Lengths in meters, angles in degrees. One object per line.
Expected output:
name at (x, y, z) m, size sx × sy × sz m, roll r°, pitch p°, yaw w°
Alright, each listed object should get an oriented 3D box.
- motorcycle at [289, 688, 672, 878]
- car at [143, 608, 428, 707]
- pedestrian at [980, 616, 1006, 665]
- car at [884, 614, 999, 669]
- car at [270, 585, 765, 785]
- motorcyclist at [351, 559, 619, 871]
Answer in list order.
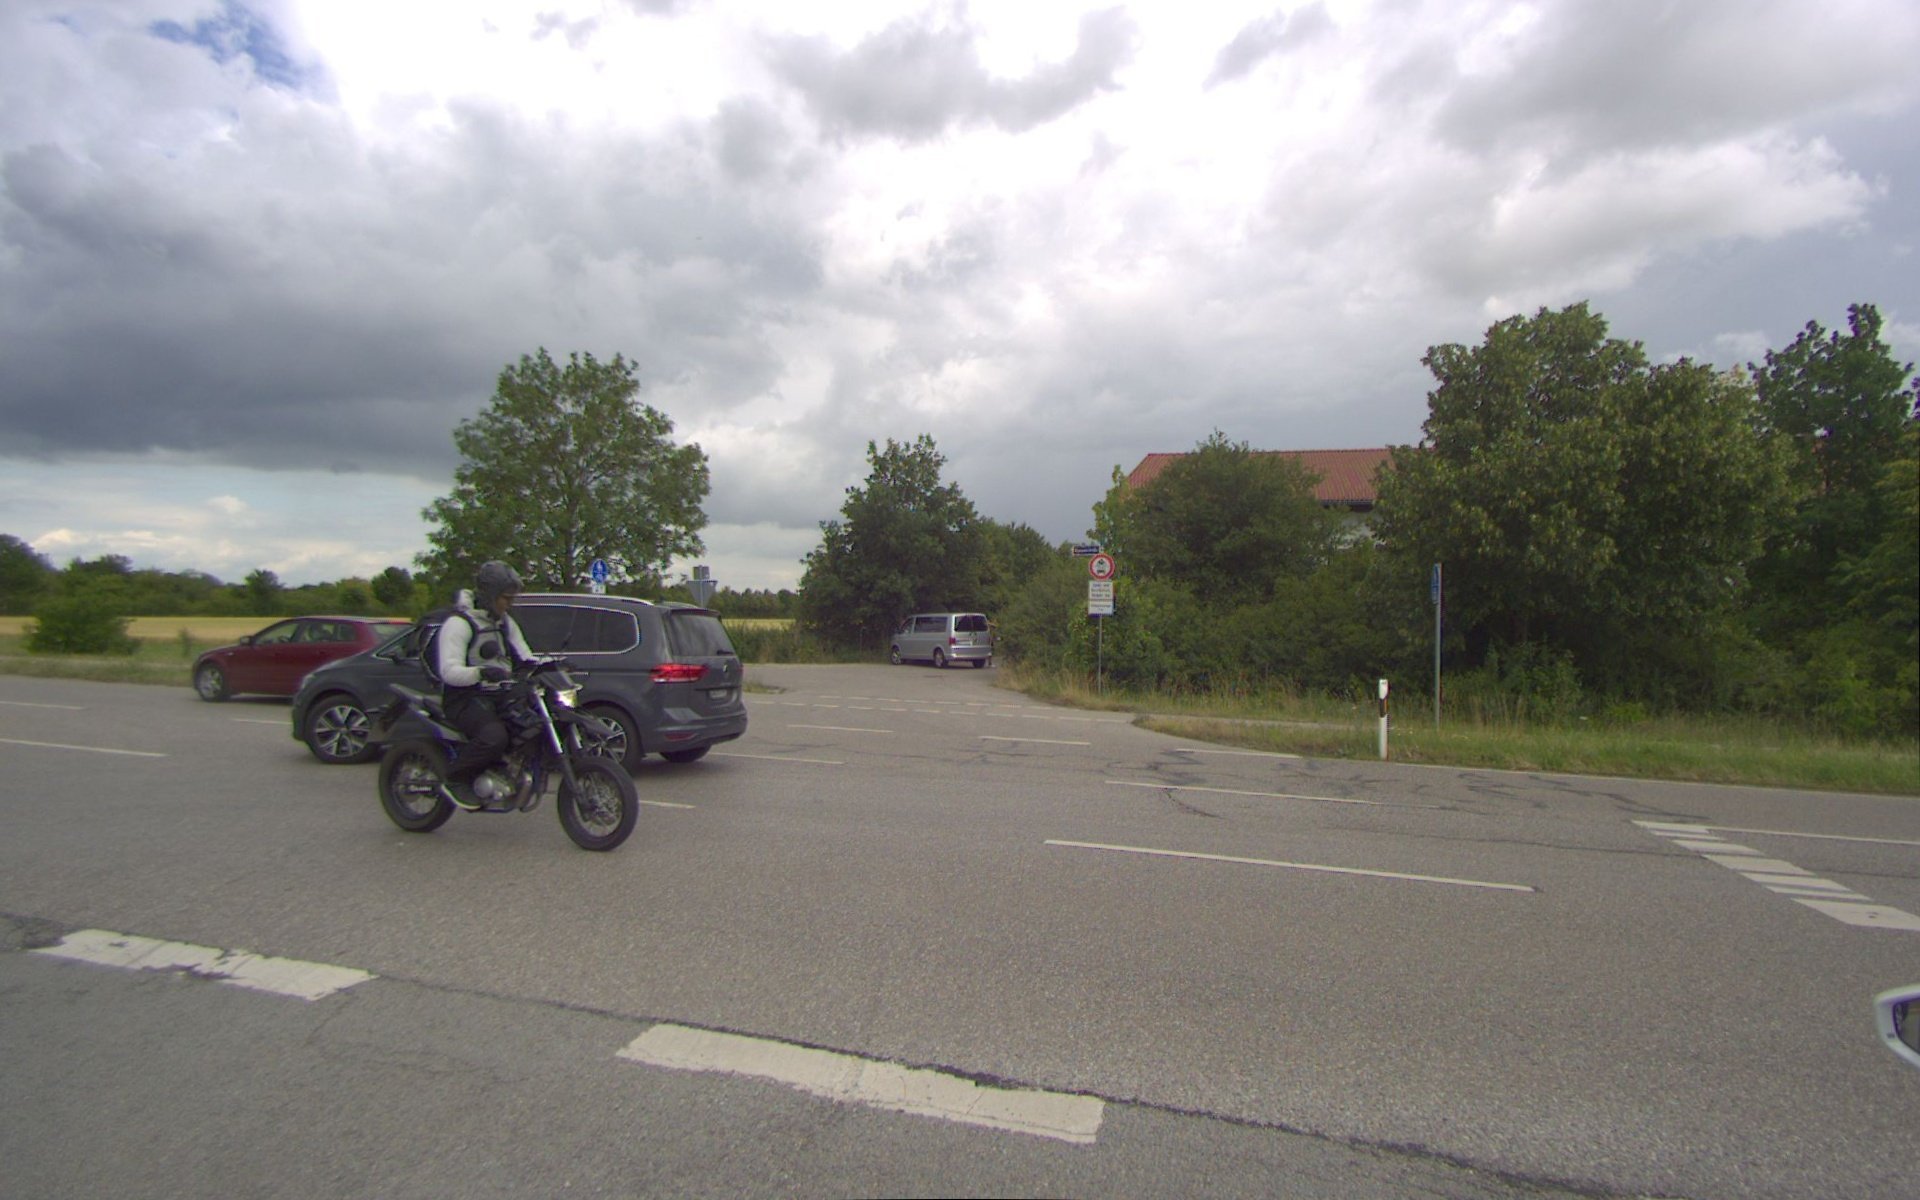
motorcycle at (-3.019, 1.089, 6.376) m, size 2.103 × 0.901 × 0.944 m, roll 1°, pitch -1°, yaw 18°
car at (-10.894, 0.893, 16.264) m, size 4.008 × 1.420 × 1.679 m, roll 0°, pitch -2°, yaw 18°
pedestrian at (1.229, 1.481, 37.055) m, size 0.690 × 1.746 × 0.732 m, roll 1°, pitch -1°, yaw 25°
car at (-0.781, 1.486, 37.648) m, size 2.089 × 1.911 × 5.058 m, roll 0°, pitch -1°, yaw -31°
car at (-4.275, 0.762, 9.956) m, size 4.203 × 1.680 × 1.755 m, roll 1°, pitch -2°, yaw 12°
motorcyclist at (-2.974, 0.658, 6.371) m, size 1.176 × 1.773 × 0.944 m, roll 1°, pitch 0°, yaw 18°
